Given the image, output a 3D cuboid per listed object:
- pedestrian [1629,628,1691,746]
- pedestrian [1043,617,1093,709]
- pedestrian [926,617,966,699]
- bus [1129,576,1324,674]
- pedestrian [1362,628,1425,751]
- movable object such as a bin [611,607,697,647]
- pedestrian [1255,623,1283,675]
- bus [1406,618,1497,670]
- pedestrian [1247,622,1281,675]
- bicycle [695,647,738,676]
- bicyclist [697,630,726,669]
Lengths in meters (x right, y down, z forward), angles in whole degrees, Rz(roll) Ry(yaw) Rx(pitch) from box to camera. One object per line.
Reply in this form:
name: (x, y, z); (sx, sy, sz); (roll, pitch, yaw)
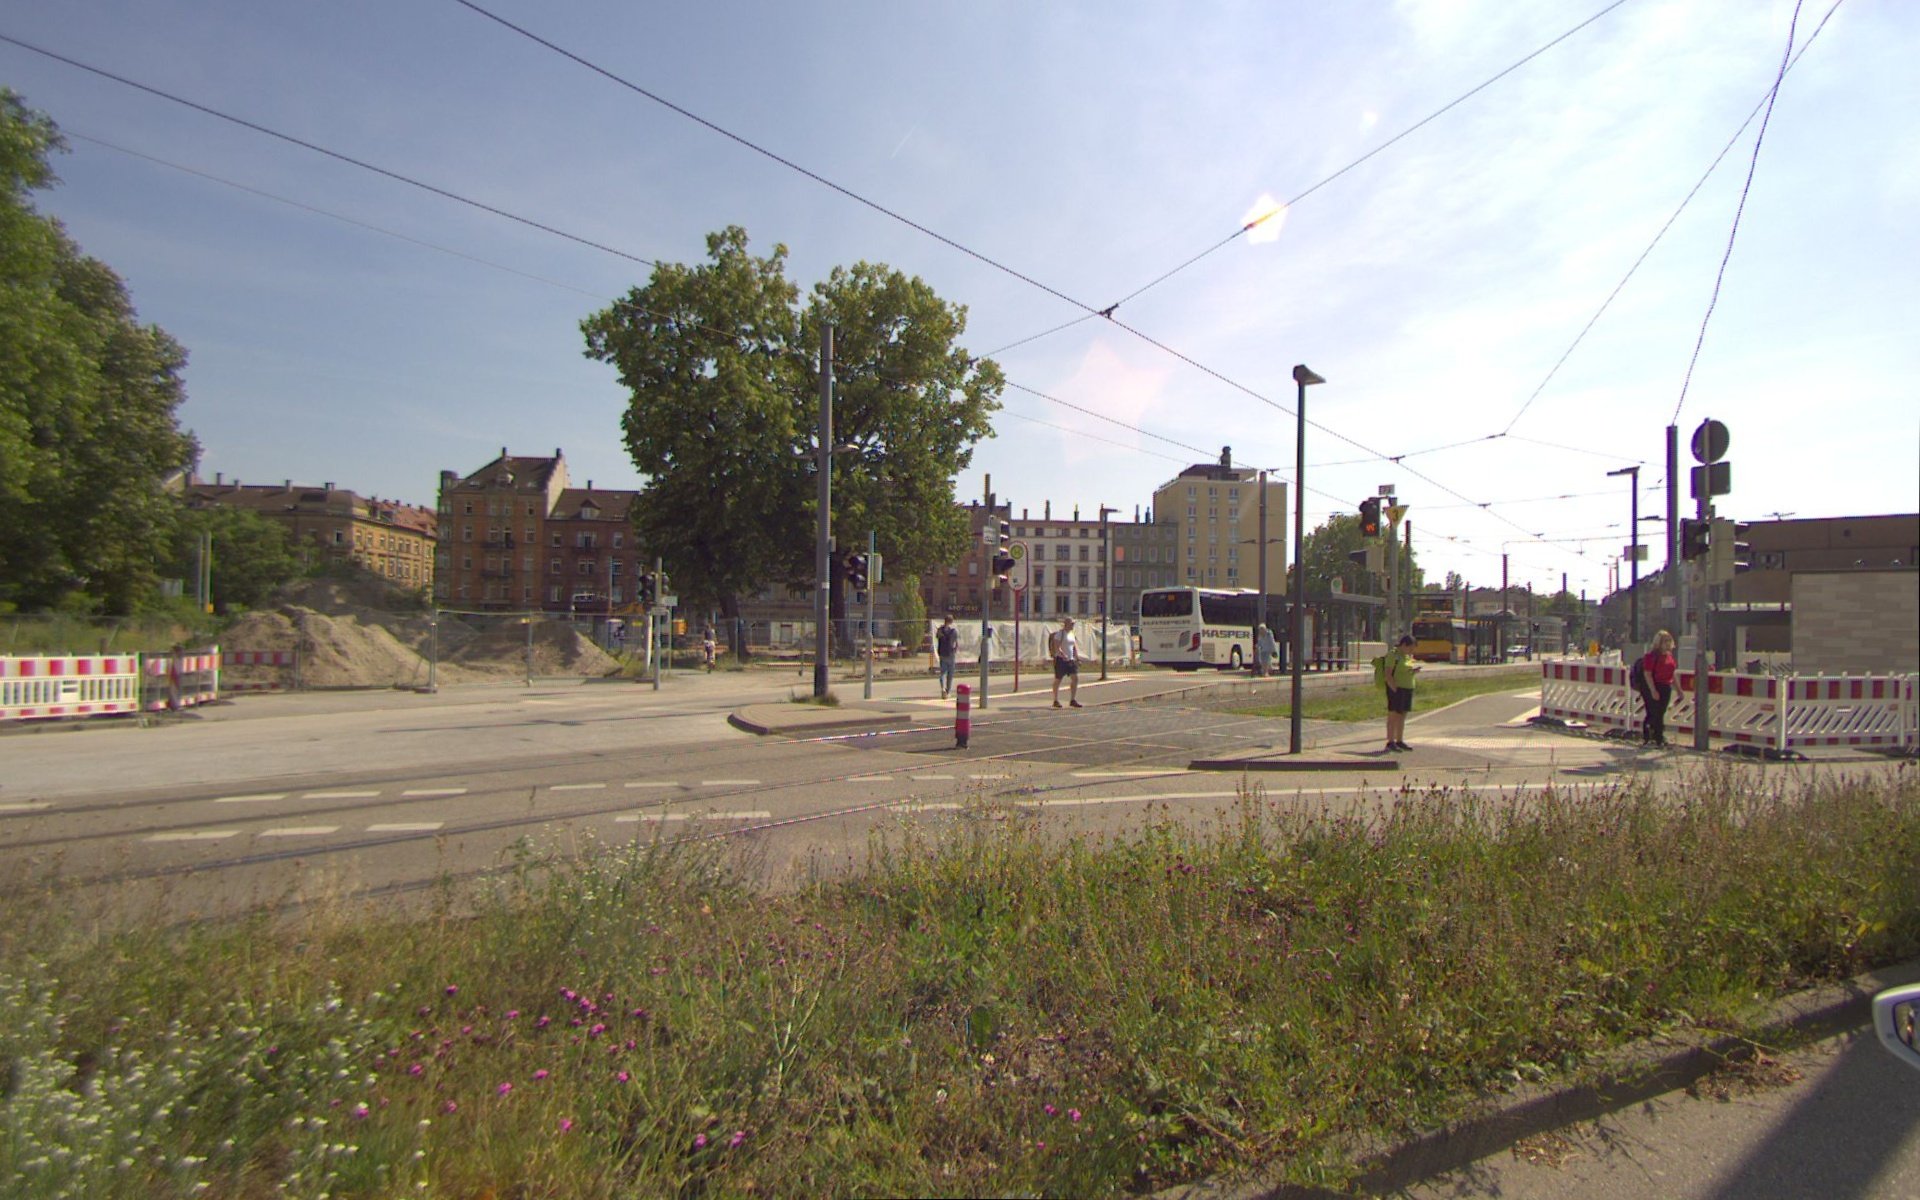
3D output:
pedestrian: (9.886, 1.221, 14.197); (0.675, 1.637, 0.350); (1, -2, -14)
pedestrian: (2.219, 1.278, 20.607); (0.829, 1.836, 0.646); (1, -1, -21)
pedestrian: (-0.303, 1.251, 21.999); (0.547, 1.735, 0.936); (0, -1, 21)
bus: (11.461, 1.137, 41.752); (2.819, 3.535, 12.601); (-1, -3, 40)
pedestrian: (5.764, 1.170, 13.355); (0.657, 1.564, 0.422); (2, 2, 35)
movable object such as a bin: (-24.541, 2.184, 80.457); (6.454, 3.049, 2.572); (1, -2, -20)
pedestrian: (9.983, 1.569, 32.462); (0.580, 1.637, 0.683); (1, -1, -33)
bus: (34.392, 3.044, 69.871); (2.819, 3.324, 12.601); (-1, -3, 40)
pedestrian: (9.492, 1.499, 31.417); (0.655, 1.637, 0.787); (1, -1, -31)
bicycle: (-8.592, 2.150, 35.385); (0.755, 0.935, 2.049); (2, -2, -35)
bicyclist: (-8.832, 1.752, 35.718); (0.614, 1.378, 1.161); (2, -2, -36)
